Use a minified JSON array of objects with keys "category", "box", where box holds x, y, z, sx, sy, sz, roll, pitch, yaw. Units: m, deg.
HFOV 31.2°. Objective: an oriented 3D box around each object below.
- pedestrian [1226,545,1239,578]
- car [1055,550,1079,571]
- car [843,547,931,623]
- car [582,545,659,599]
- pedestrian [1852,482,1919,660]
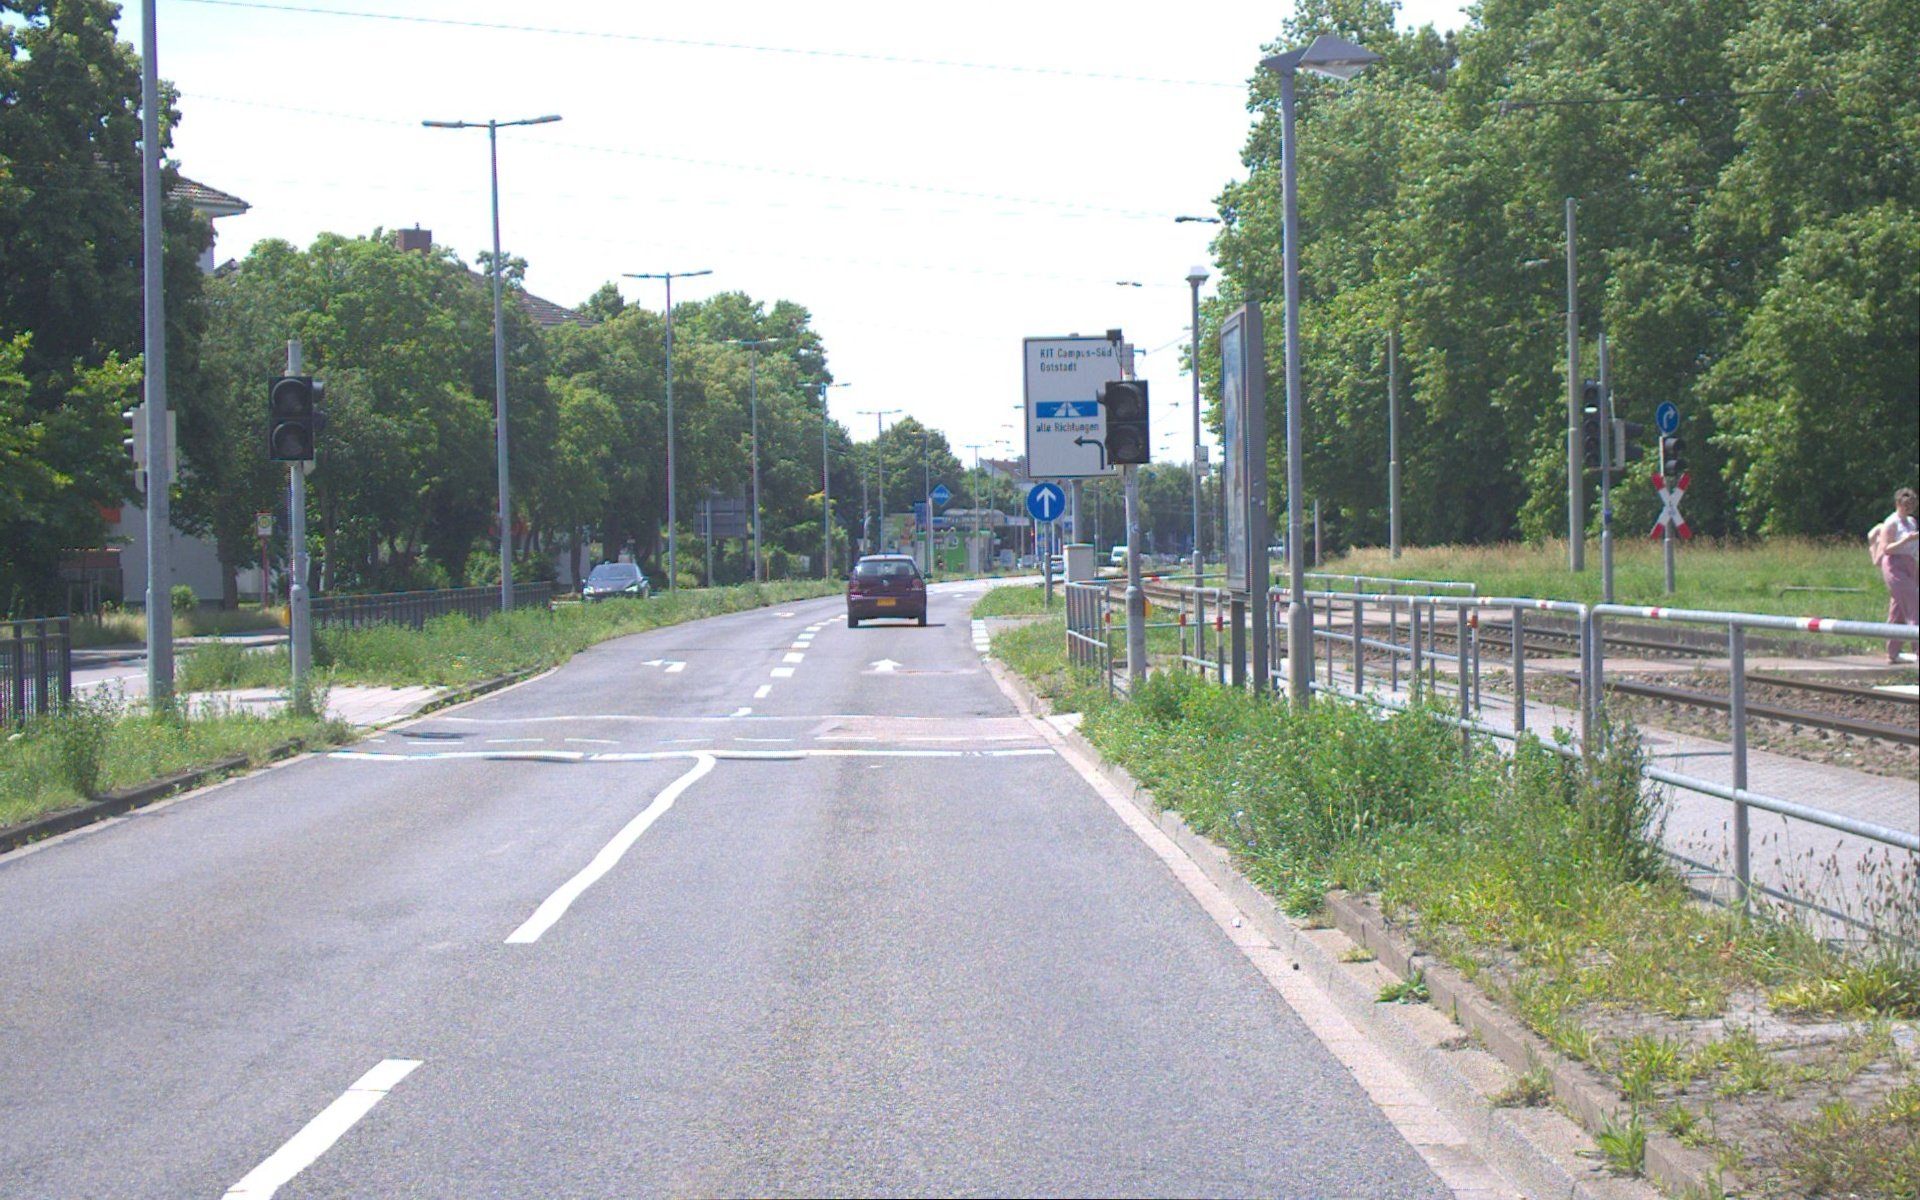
[{"category":"pedestrian","box":[14.133,-1.997,178.347,0.661,1.720,0.816,-1,1,6]},{"category":"car","box":[7.848,-2.897,252.210,1.703,1.475,3.716,0,0,2]},{"category":"car","box":[-1.475,-0.314,70.784,1.703,1.472,3.716,-2,0,0]},{"category":"car","box":[-10.216,-0.859,103.563,1.756,1.538,4.161,-2,1,2]},{"category":"pedestrian","box":[9.406,-0.287,34.350,0.634,1.753,0.817,0,0,-14]}]
